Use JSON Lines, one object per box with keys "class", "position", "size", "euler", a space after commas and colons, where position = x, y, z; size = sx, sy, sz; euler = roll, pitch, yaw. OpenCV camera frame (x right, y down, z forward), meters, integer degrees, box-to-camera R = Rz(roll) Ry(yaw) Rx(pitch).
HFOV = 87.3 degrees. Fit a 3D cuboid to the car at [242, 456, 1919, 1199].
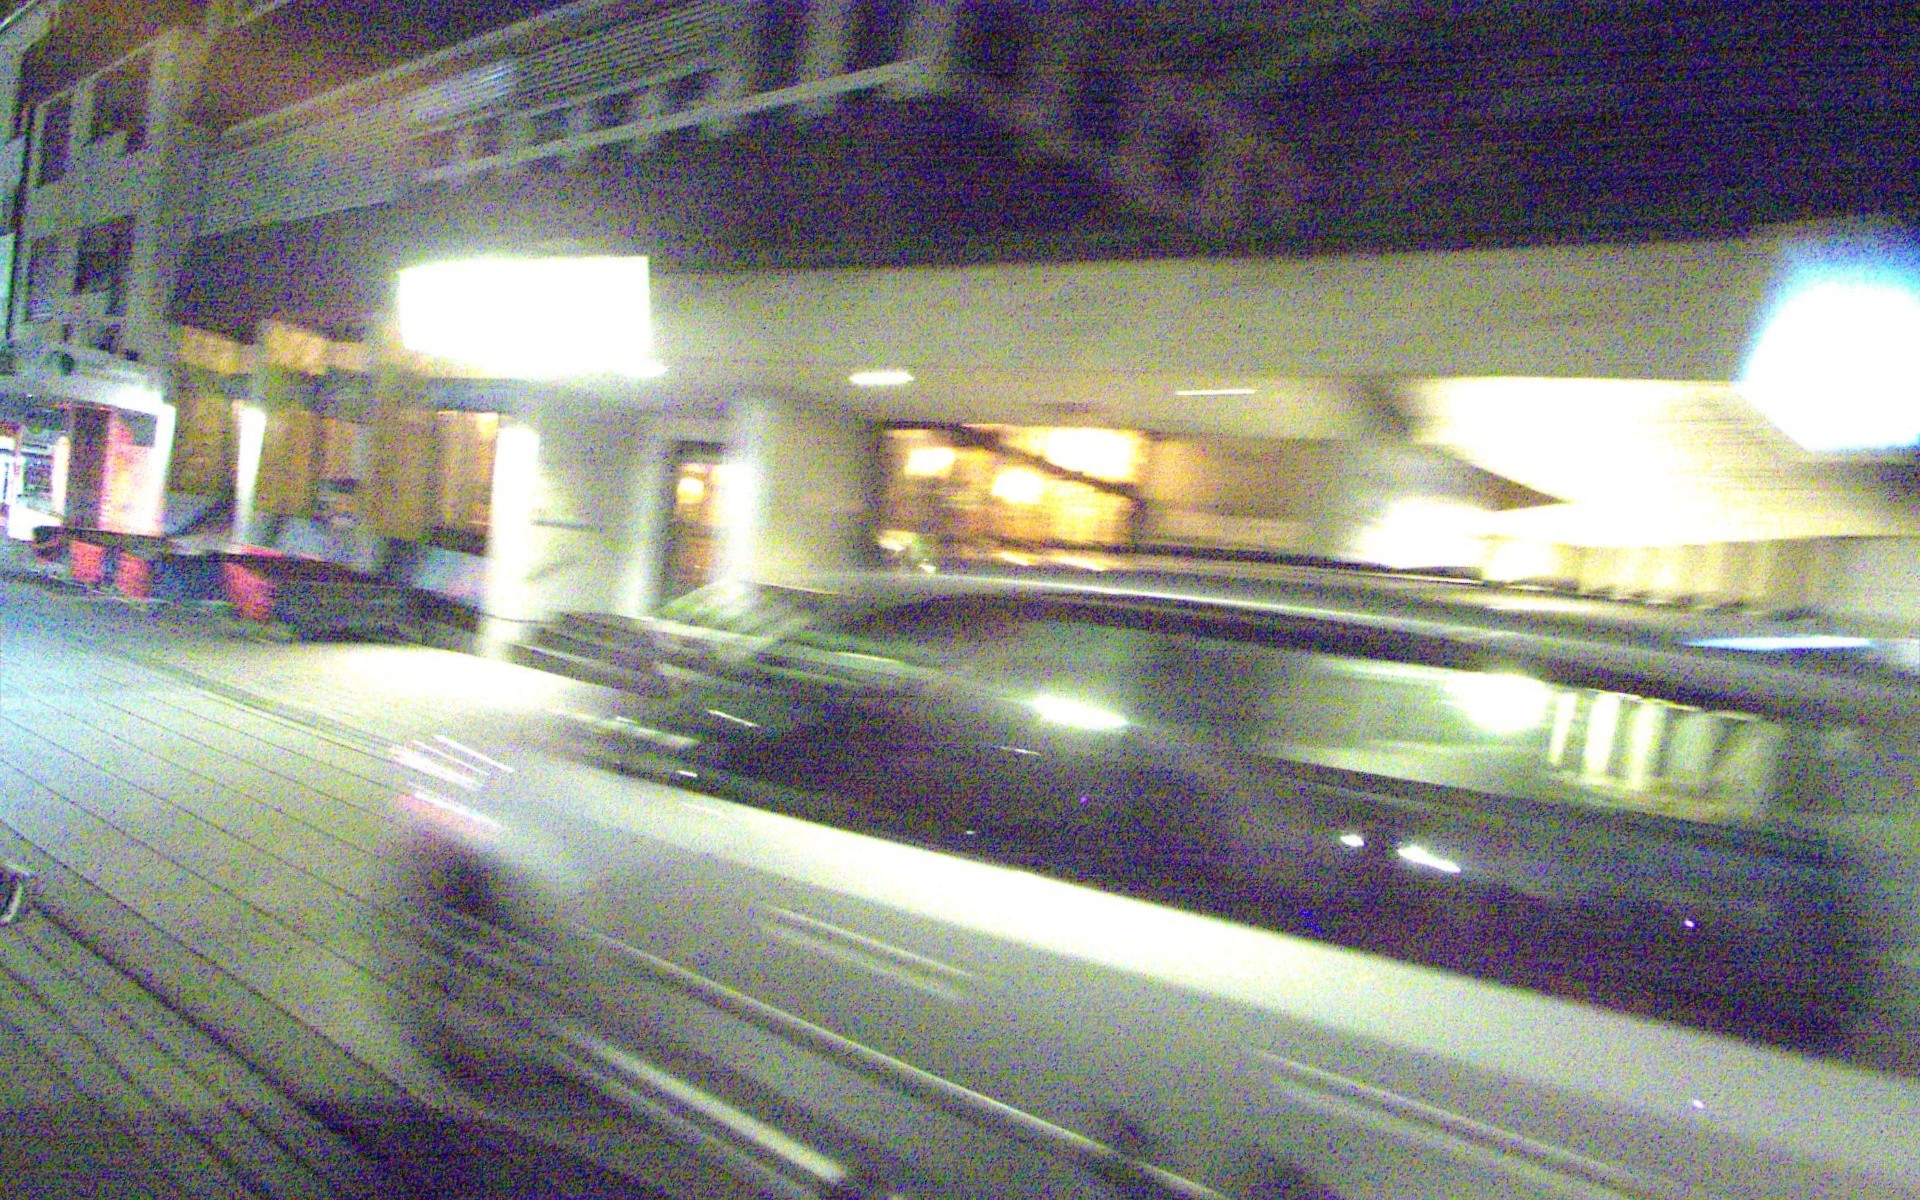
{"class": "car", "position": [0.112, 0.626, 2.727], "size": [4.307, 1.664, 1.787], "euler": [7, 3, 32]}
